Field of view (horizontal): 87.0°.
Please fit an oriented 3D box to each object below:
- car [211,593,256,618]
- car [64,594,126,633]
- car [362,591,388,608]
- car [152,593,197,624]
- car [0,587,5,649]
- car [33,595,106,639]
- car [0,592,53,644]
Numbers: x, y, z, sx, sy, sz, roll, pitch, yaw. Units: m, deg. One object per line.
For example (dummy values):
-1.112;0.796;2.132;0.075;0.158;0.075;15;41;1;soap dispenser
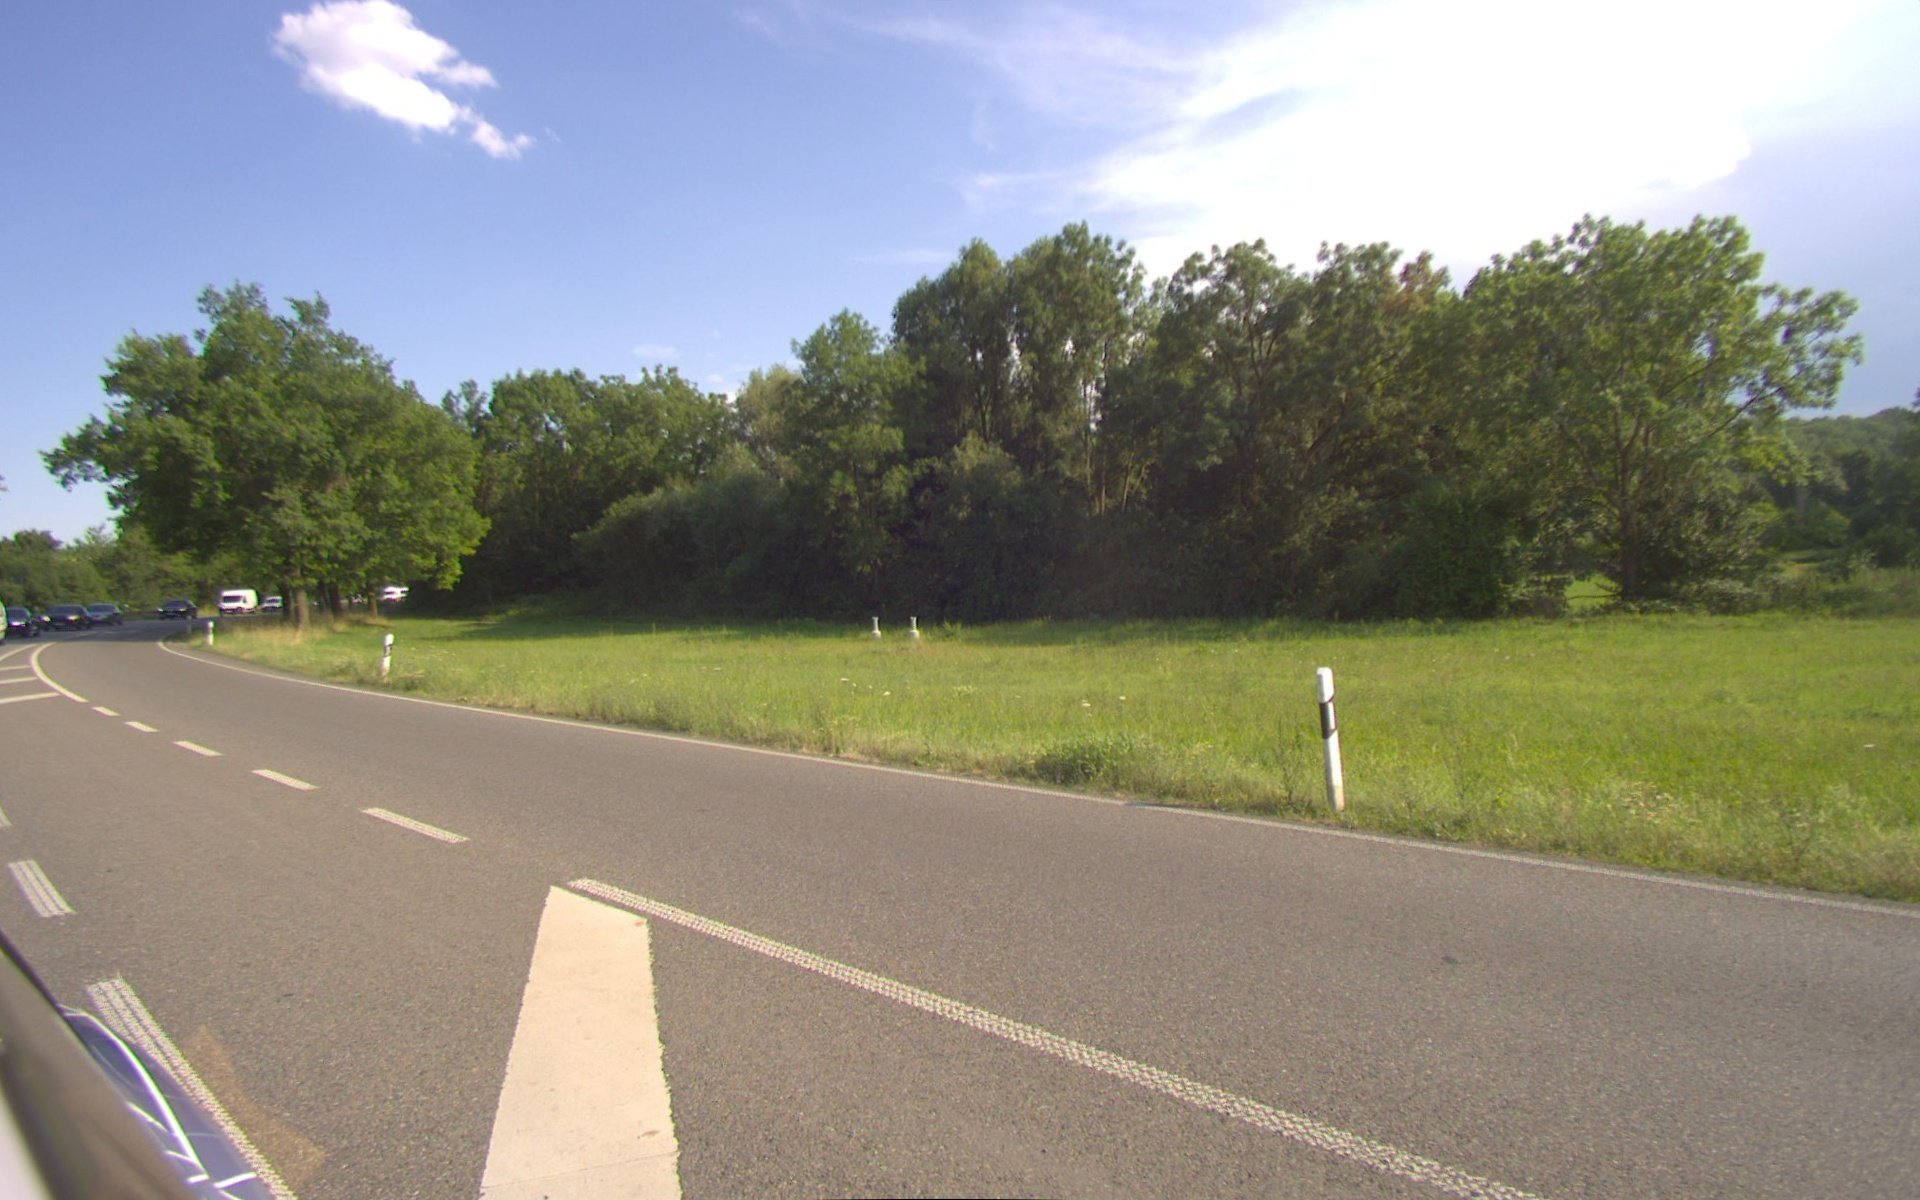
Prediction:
-73.734;0.484;102.753;2.054;2.435;5.158;-1;1;-16;car
-58.536;0.857;68.561;2.054;2.435;5.159;-1;1;-28;car
-84.762;-0.074;146.686;2.054;2.435;5.158;-1;1;-16;car
-65.483;0.683;84.457;2.054;2.435;5.159;-1;1;-28;car
-37.805;0.714;38.170;2.056;2.435;5.153;-1;1;-38;car
-52.759;0.924;60.092;2.054;2.435;5.159;-1;1;-28;car
-46.539;0.825;49.444;2.054;2.435;5.159;-1;1;-28;car
